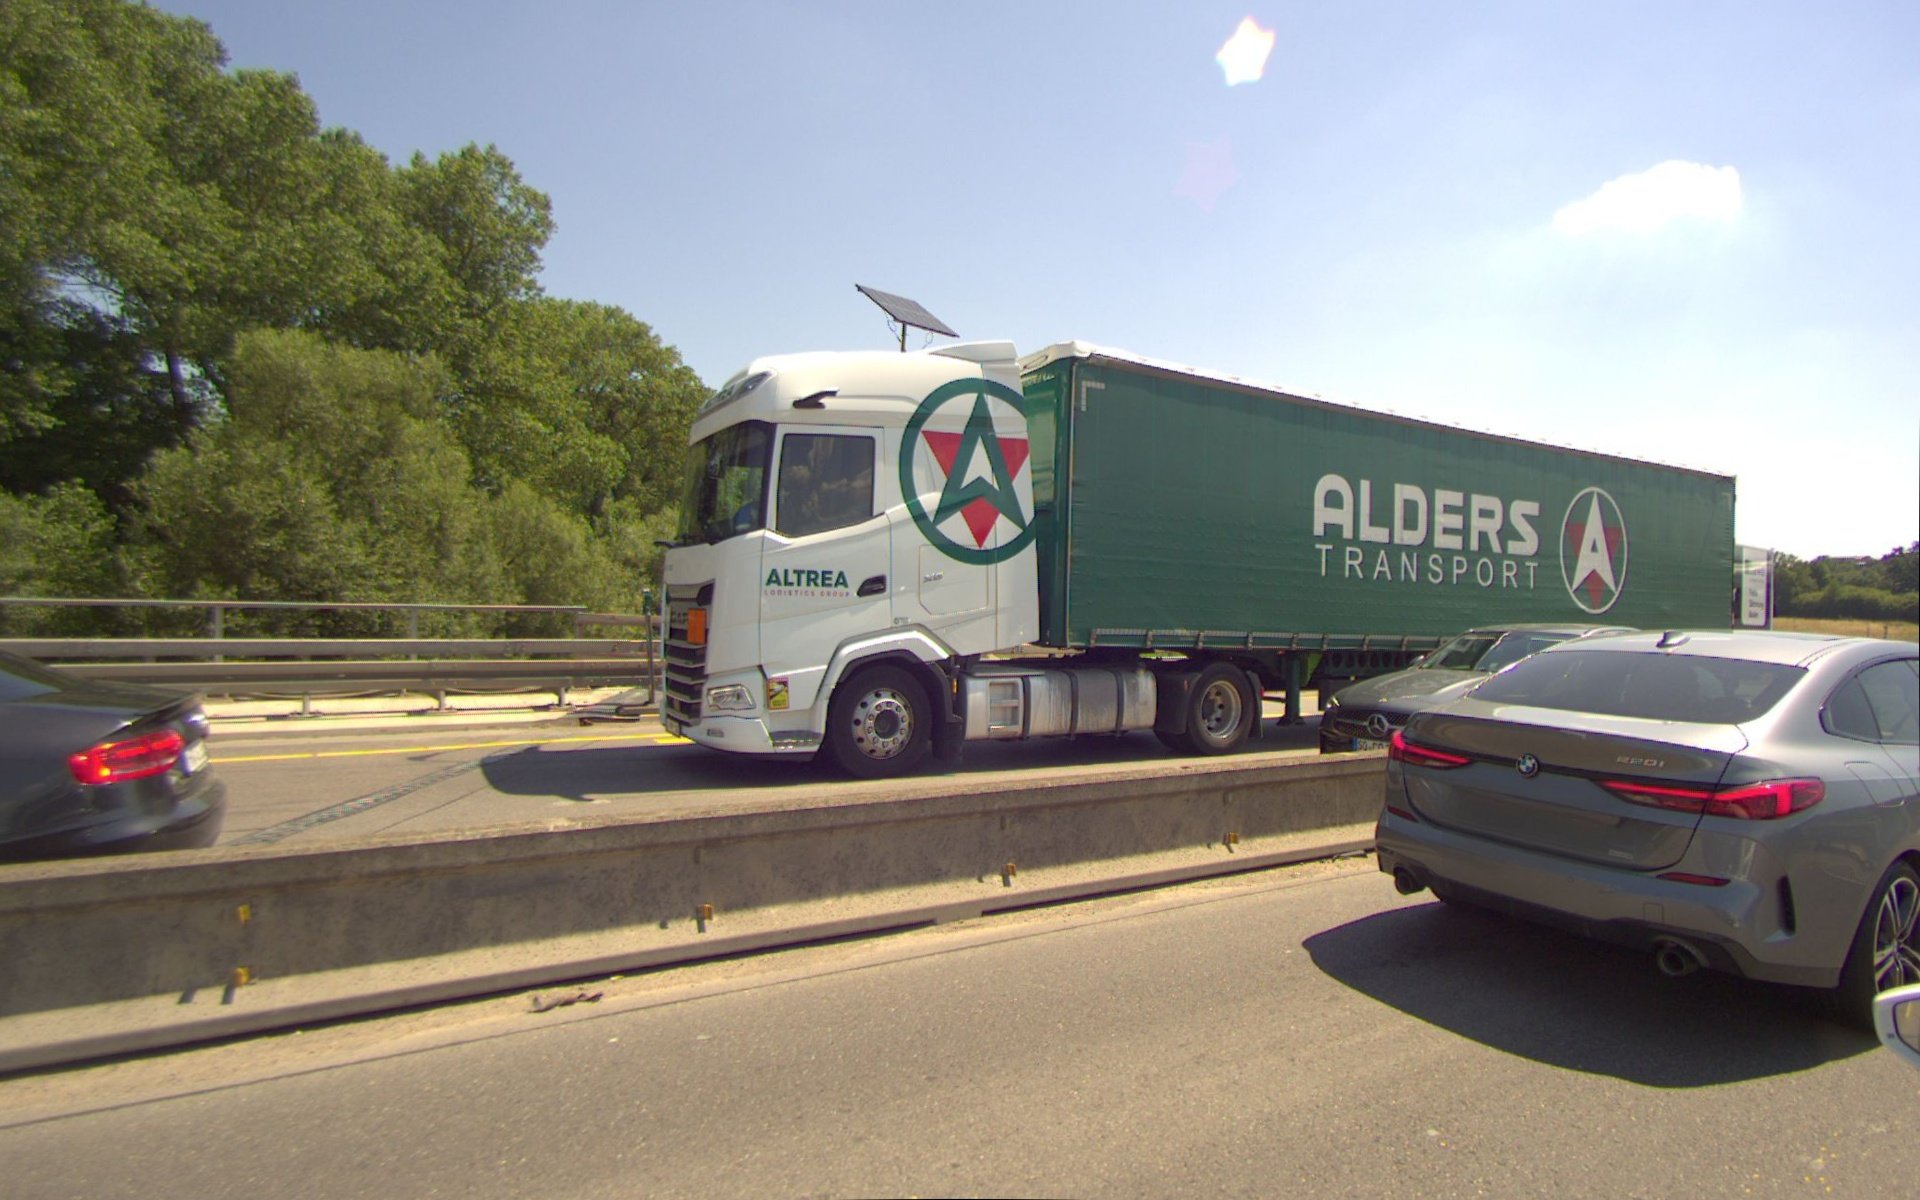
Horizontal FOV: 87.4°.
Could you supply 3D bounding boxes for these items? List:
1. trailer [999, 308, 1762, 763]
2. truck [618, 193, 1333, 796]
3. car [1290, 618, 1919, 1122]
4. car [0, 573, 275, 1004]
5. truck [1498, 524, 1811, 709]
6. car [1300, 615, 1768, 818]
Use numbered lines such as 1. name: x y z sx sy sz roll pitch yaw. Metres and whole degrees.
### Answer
1. trailer: 6.839 -0.462 14.572 12.866 4.524 3.087 2 -1 -30
2. truck: 0.316 -0.714 10.752 7.018 4.597 3.064 2 0 -30
3. car: 4.001 0.877 4.967 4.685 1.471 1.843 2 -1 -30
4. car: -5.056 0.591 3.325 4.487 1.439 1.767 2 1 -32
5. truck: 16.819 0.409 24.140 8.269 3.815 2.890 1 1 -30
6. car: 5.630 0.975 9.720 4.553 1.478 1.856 2 1 -30
